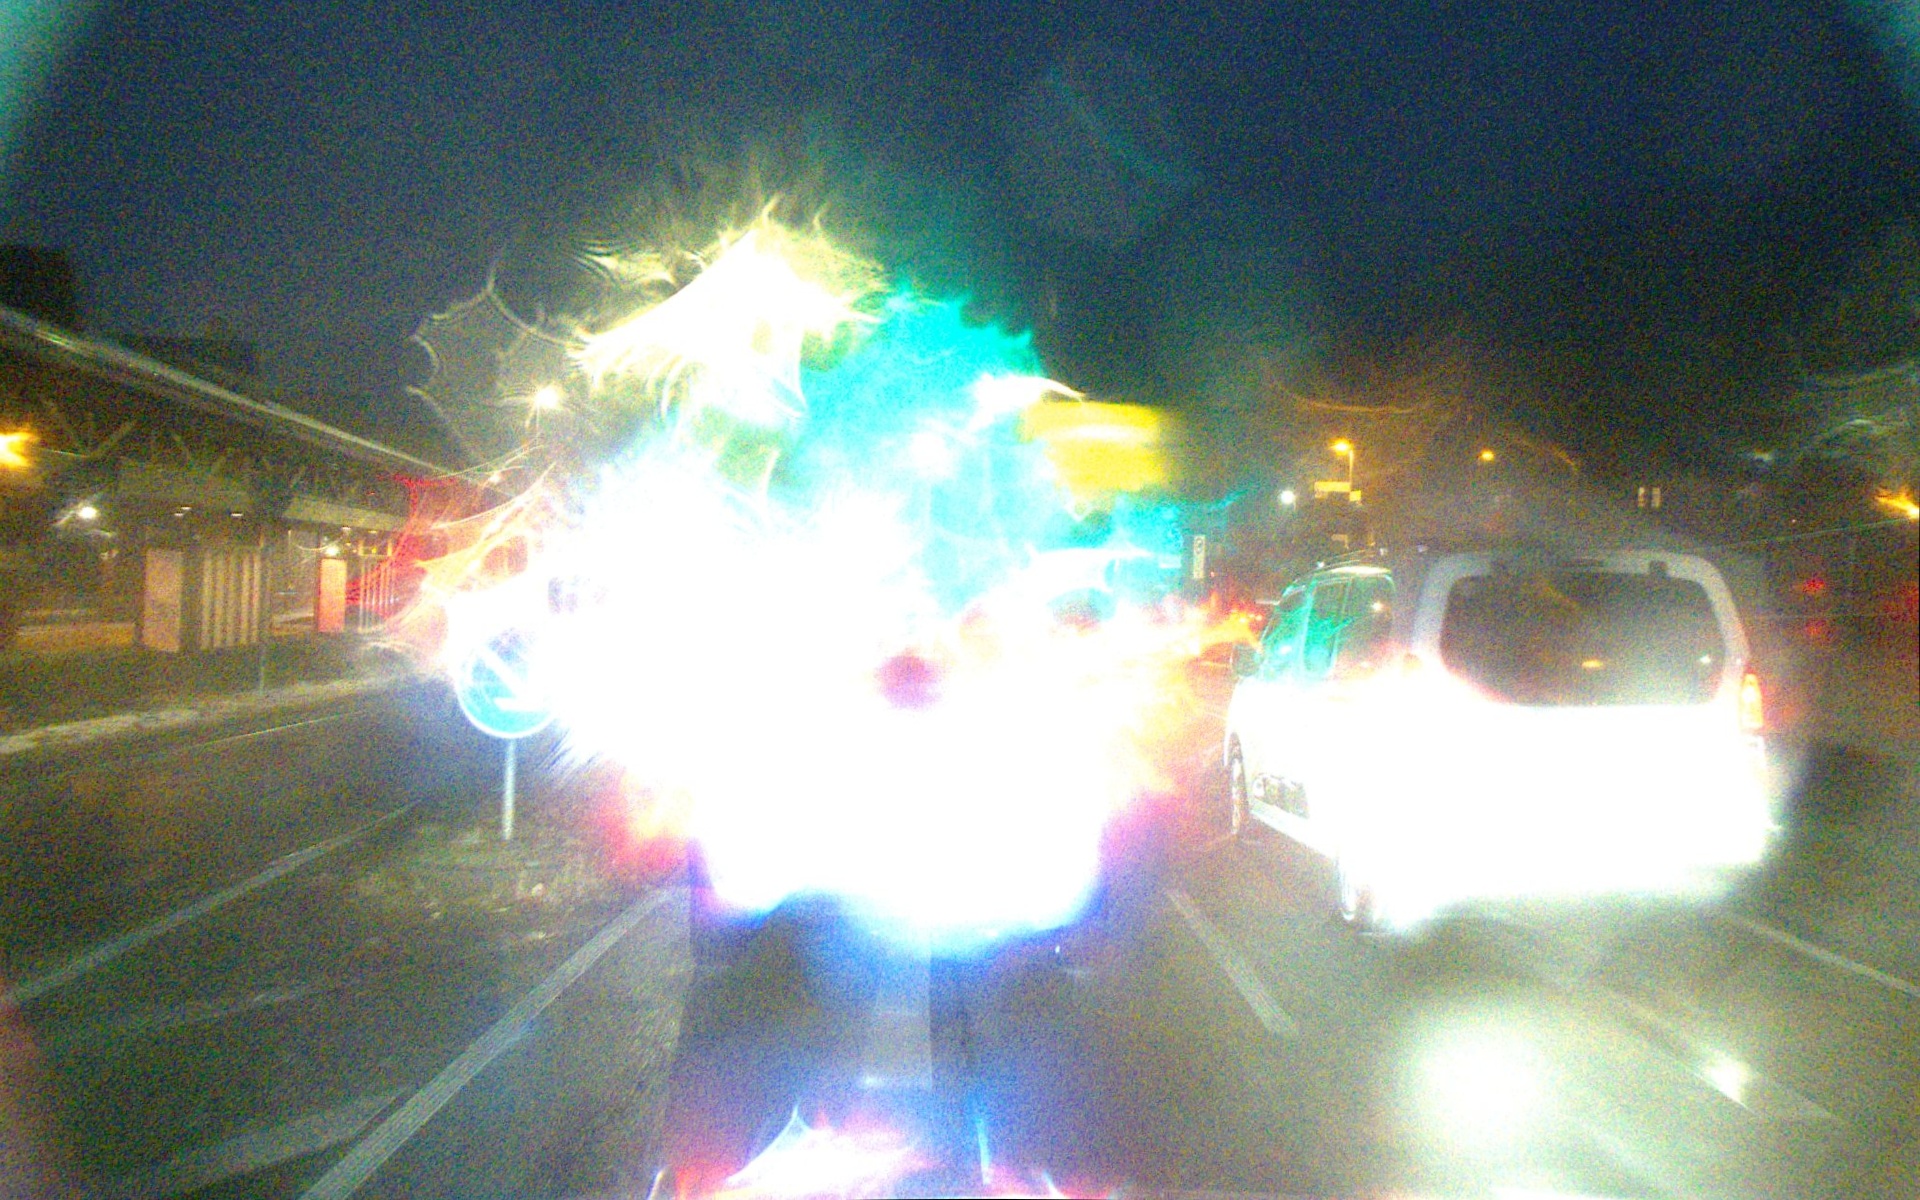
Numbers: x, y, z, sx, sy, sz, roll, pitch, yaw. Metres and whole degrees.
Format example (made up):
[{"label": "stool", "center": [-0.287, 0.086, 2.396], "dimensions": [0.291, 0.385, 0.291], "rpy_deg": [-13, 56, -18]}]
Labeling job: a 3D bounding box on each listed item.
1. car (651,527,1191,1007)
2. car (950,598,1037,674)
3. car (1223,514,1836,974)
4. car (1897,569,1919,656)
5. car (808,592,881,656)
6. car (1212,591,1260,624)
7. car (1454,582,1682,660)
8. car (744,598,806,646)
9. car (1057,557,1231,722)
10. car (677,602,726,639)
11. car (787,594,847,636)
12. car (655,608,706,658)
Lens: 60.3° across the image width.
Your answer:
[{"label": "car", "center": [-0.229, 0.641, 8.375], "dimensions": [1.974, 1.747, 4.449], "rpy_deg": [1, 0, -3]}, {"label": "car", "center": [0.772, 0.858, 40.750], "dimensions": [1.953, 1.748, 3.999], "rpy_deg": [1, 0, -1]}, {"label": "car", "center": [2.749, 0.623, 9.137], "dimensions": [1.814, 1.897, 4.339], "rpy_deg": [1, 0, -1]}, {"label": "car", "center": [17.099, 0.220, 27.484], "dimensions": [1.685, 1.509, 4.709], "rpy_deg": [1, 0, 18]}, {"label": "car", "center": [-3.447, 0.680, 48.695], "dimensions": [1.955, 1.763, 3.994], "rpy_deg": [1, 0, -7]}, {"label": "car", "center": [14.709, 0.392, 88.239], "dimensions": [1.827, 1.675, 3.962], "rpy_deg": [-1, 0, -1]}, {"label": "car", "center": [12.647, 0.425, 34.431], "dimensions": [4.244, 1.485, 1.849], "rpy_deg": [1, -1, 28]}, {"label": "car", "center": [-7.436, 0.860, 66.088], "dimensions": [1.960, 1.856, 3.986], "rpy_deg": [1, 0, -14]}, {"label": "car", "center": [2.492, 0.525, 23.342], "dimensions": [1.929, 2.083, 3.999], "rpy_deg": [1, 0, -1]}, {"label": "car", "center": [-13.444, 1.035, 85.920], "dimensions": [1.962, 1.856, 3.981], "rpy_deg": [1, 0, -17]}, {"label": "car", "center": [-6.505, 0.669, 75.023], "dimensions": [1.961, 1.852, 3.982], "rpy_deg": [1, 0, -16]}, {"label": "car", "center": [-12.372, 1.433, 72.961], "dimensions": [1.979, 1.920, 4.438], "rpy_deg": [2, 1, -12]}]
